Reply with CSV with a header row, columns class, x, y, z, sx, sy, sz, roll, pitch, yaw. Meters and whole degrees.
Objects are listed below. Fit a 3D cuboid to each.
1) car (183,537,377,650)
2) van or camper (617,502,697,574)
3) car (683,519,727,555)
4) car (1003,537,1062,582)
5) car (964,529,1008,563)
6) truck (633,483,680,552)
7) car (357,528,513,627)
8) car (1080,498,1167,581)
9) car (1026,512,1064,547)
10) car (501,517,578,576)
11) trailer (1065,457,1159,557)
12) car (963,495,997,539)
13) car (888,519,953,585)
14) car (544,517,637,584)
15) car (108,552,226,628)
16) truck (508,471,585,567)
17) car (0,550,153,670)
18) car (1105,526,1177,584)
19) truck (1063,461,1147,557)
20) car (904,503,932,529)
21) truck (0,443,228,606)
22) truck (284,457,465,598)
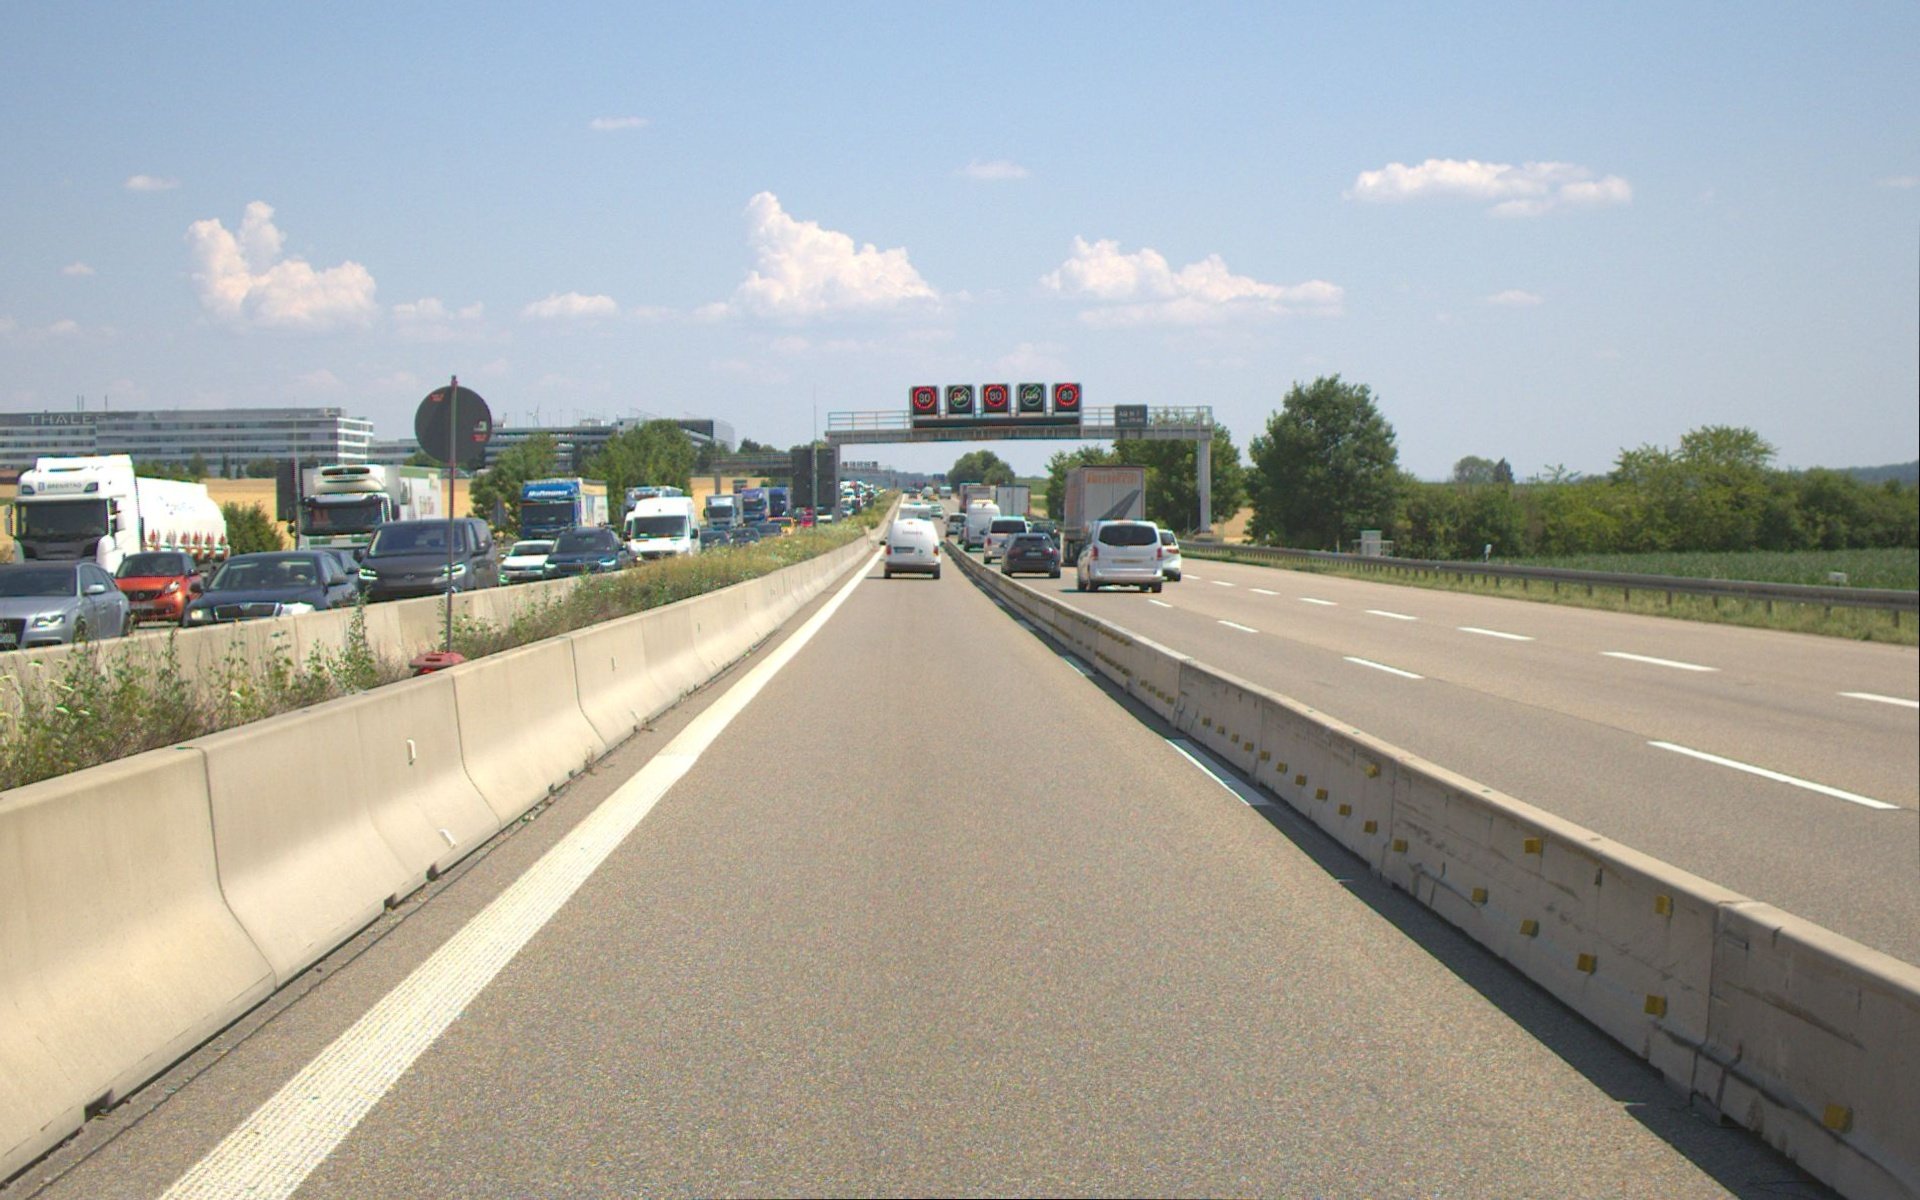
class,x,y,z,sx,sy,sz,roll,pitch,yaw
car,-8.559,-0.116,43.576,1.655,1.347,4.267,0,1,-1
van or camper,-9.641,-2.011,109.989,2.035,2.214,7.209,1,1,-1
car,-10.826,-2.697,145.907,1.597,1.464,4.534,-1,2,-1
car,2.331,-1.324,111.552,1.773,1.442,4.000,0,1,-1
car,1.101,-2.297,146.066,1.773,1.442,4.000,0,1,-1
truck,-18.192,-4.960,206.400,2.411,4.072,4.660,-1,1,0
car,-8.722,-0.413,57.555,1.843,1.564,5.345,0,1,-1
car,4.234,-1.556,89.607,1.993,2.112,4.000,0,1,-1
car,4.848,-4.002,195.709,1.993,2.007,4.000,0,1,-1
car,-13.046,-1.691,106.931,1.886,1.704,5.523,-2,1,-2
trailer,6.175,-3.762,141.023,3.277,3.953,9.113,0,1,-1
car,1.074,-4.522,187.858,1.773,2.384,4.000,0,1,-1
car,-1.239,-1.492,107.561,1.993,2.007,4.000,0,1,-1
car,-8.912,-1.221,83.210,1.782,1.584,4.541,0,1,-1
car,-16.325,-0.216,70.914,1.562,1.510,3.937,1,0,-1
truck,-18.129,-3.563,151.077,2.809,4.114,4.842,-1,1,-1
car,-12.306,0.092,46.103,1.846,1.477,4.922,0,1,-1
car,5.636,-1.415,107.487,1.993,1.788,4.000,0,1,-1
truck,6.104,-3.813,145.120,3.271,3.953,4.913,0,1,-1
car,-3.042,-6.034,247.946,1.993,1.829,4.000,0,1,-1
truck,-21.665,-1.950,88.655,2.899,3.763,13.290,-3,1,-2
truck,-16.478,-2.072,97.795,2.795,3.597,13.290,-3,1,0
